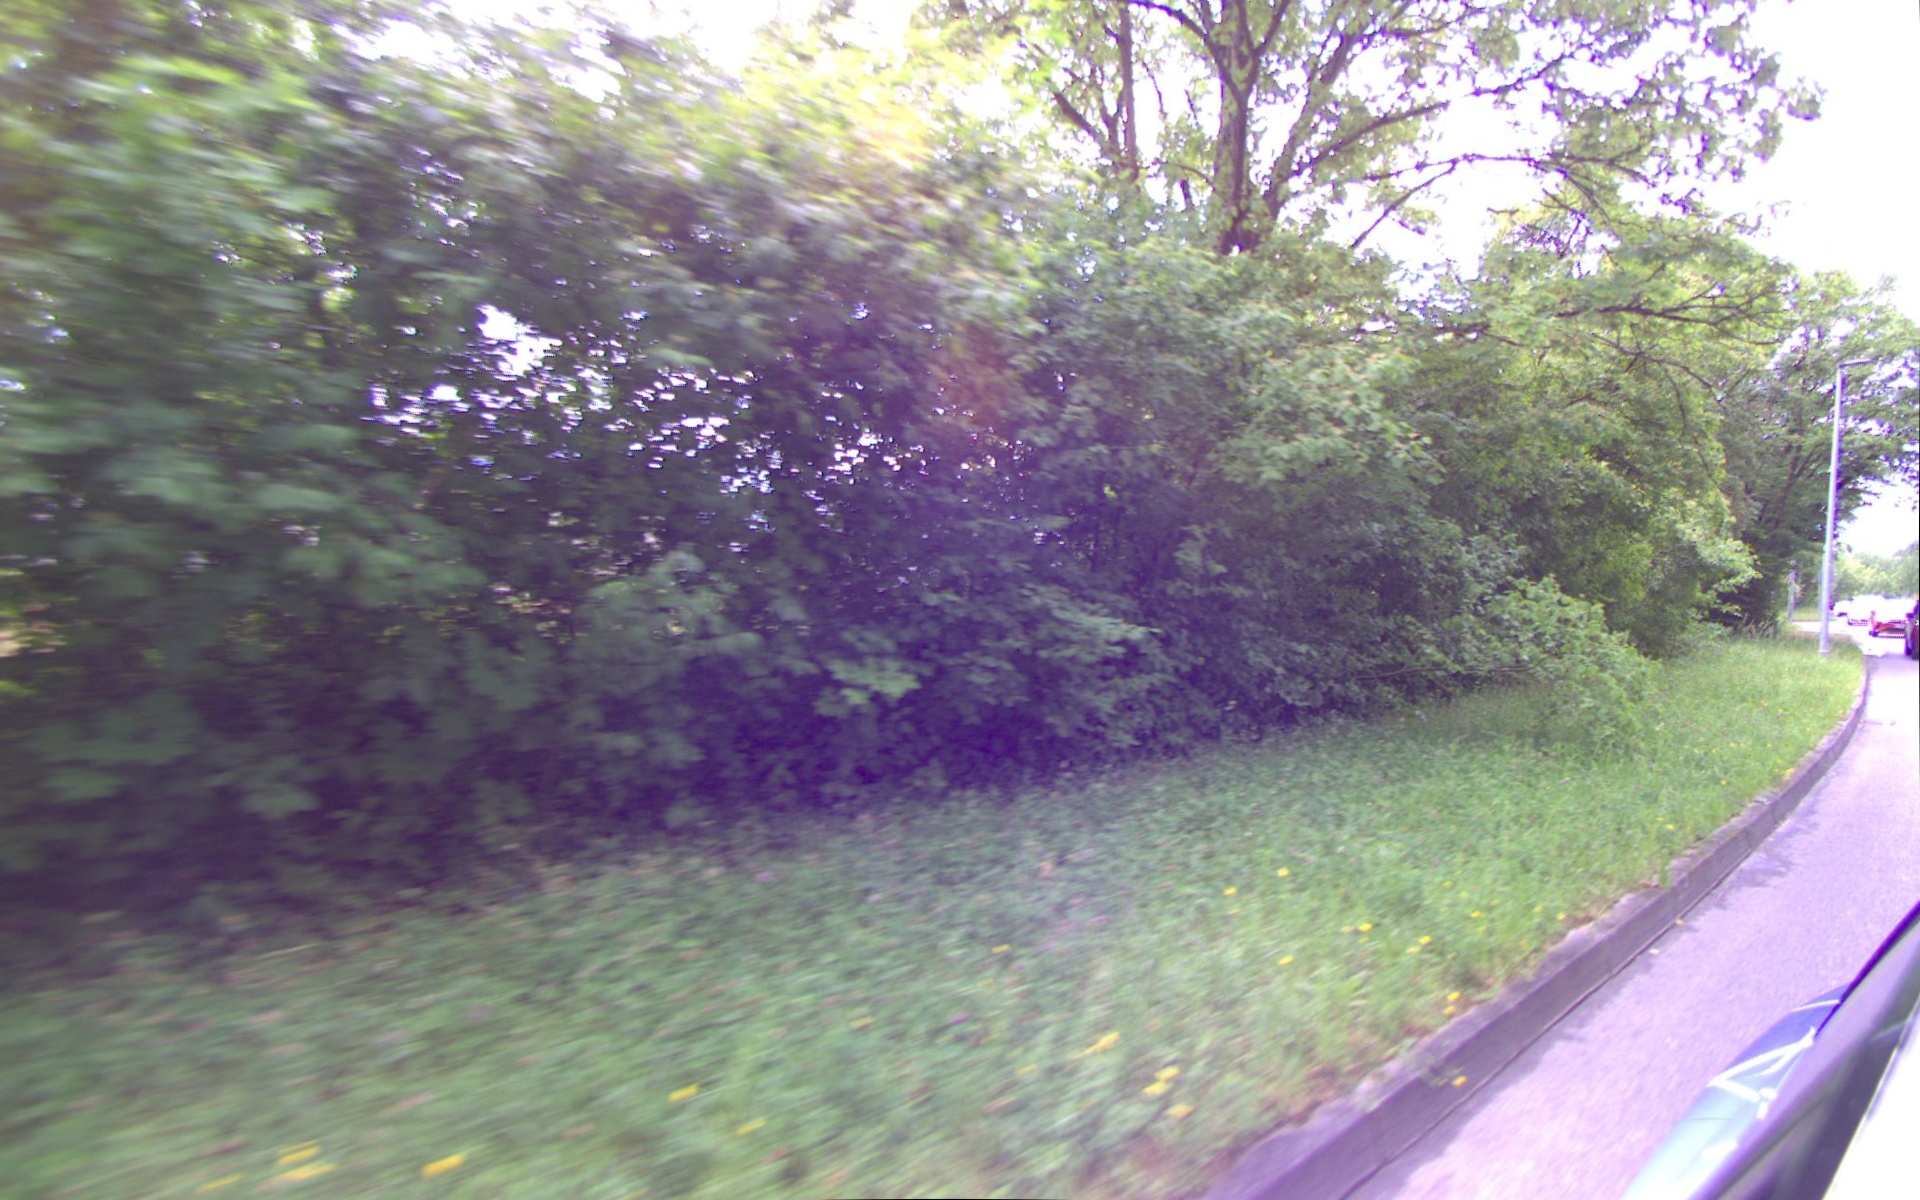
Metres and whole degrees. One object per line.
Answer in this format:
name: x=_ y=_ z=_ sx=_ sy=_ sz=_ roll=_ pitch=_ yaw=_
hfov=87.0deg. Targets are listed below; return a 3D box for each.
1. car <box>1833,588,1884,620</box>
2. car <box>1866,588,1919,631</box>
car: x=50.162 y=0.193 z=56.530 sx=1.913 sy=1.616 sz=3.842 roll=3 pitch=2 yaw=40
car: x=37.444 y=0.364 z=40.021 sx=1.990 sy=1.593 sz=3.946 roll=3 pitch=2 yaw=37
